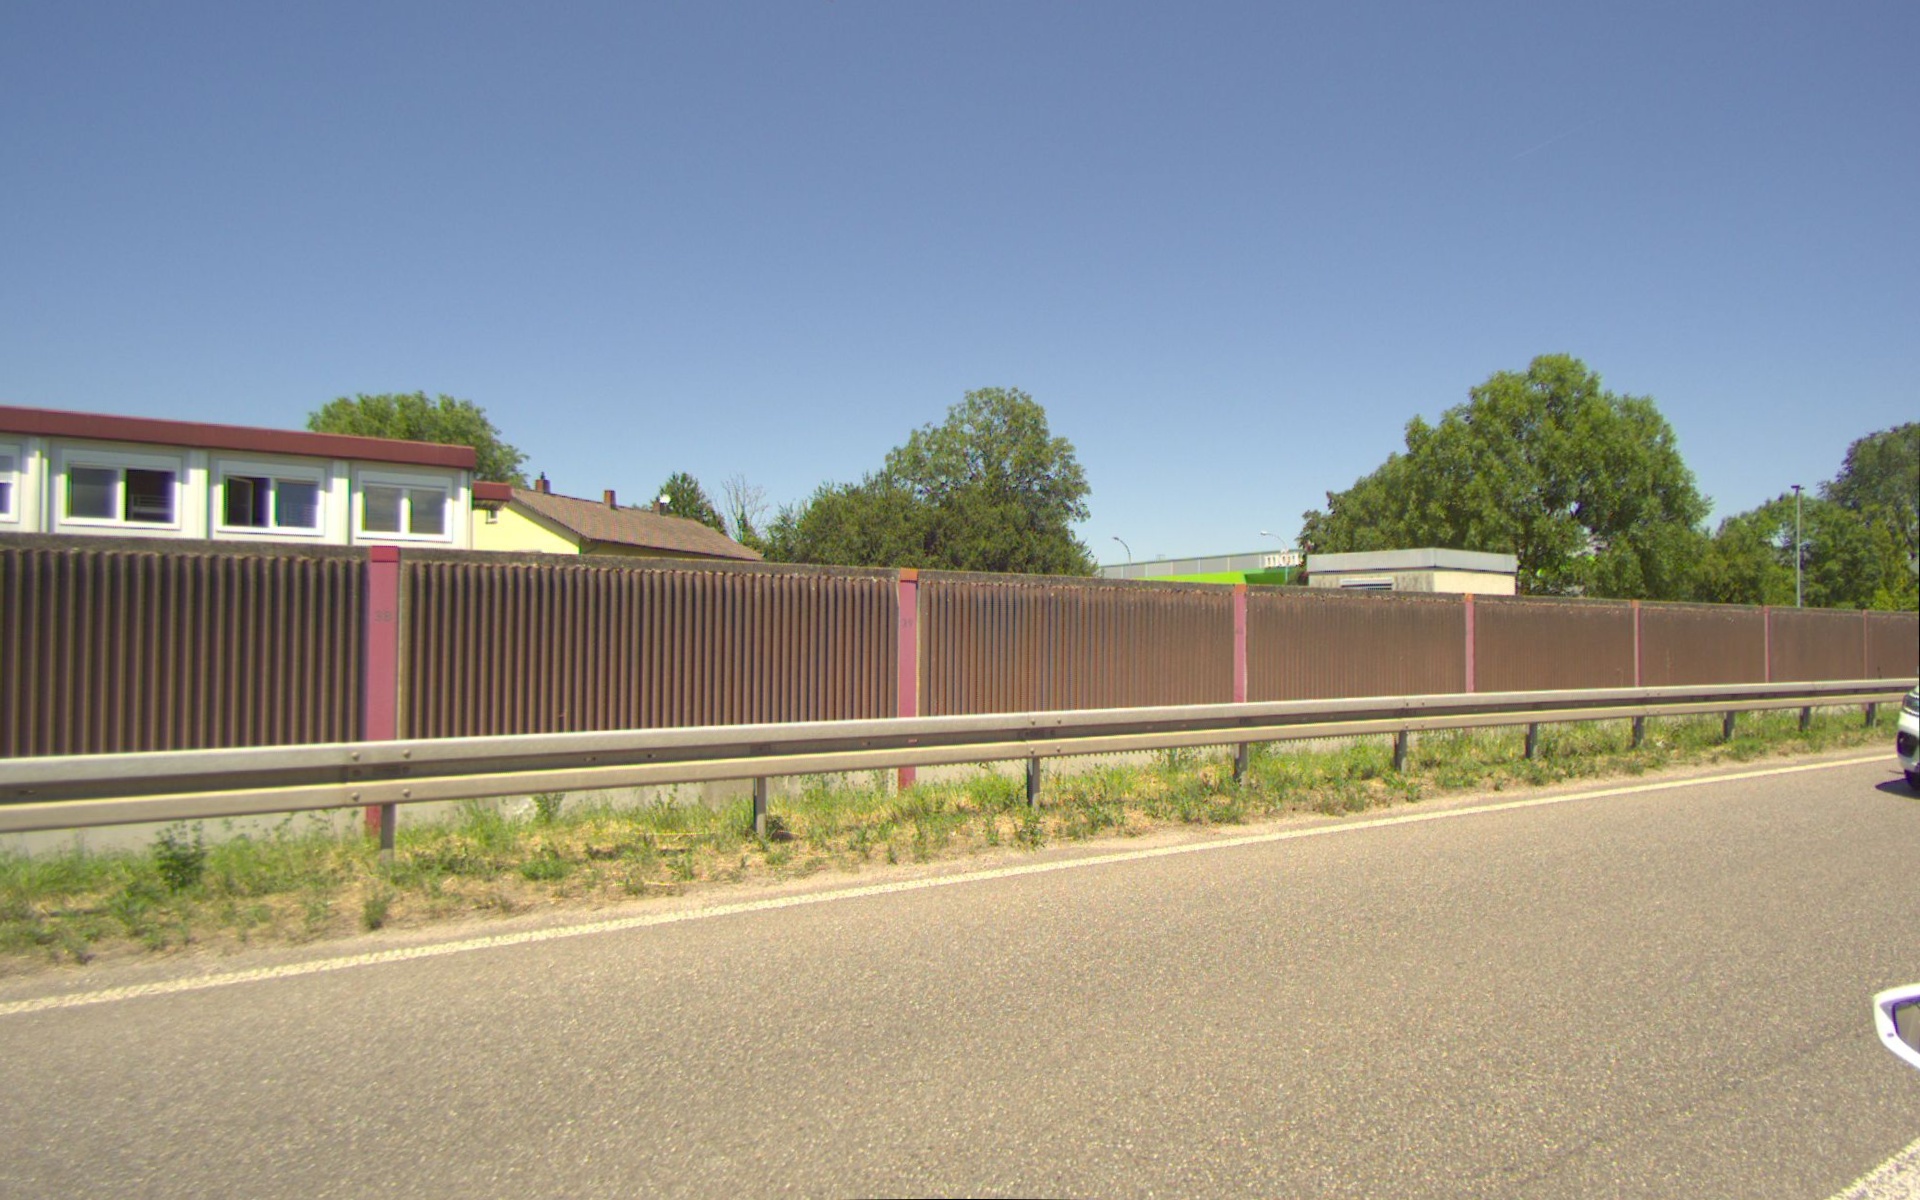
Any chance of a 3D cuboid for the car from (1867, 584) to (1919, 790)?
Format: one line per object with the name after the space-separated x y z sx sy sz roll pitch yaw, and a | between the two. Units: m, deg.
10.561 0.790 9.196 4.717 1.763 1.879 1 0 -28 | car
